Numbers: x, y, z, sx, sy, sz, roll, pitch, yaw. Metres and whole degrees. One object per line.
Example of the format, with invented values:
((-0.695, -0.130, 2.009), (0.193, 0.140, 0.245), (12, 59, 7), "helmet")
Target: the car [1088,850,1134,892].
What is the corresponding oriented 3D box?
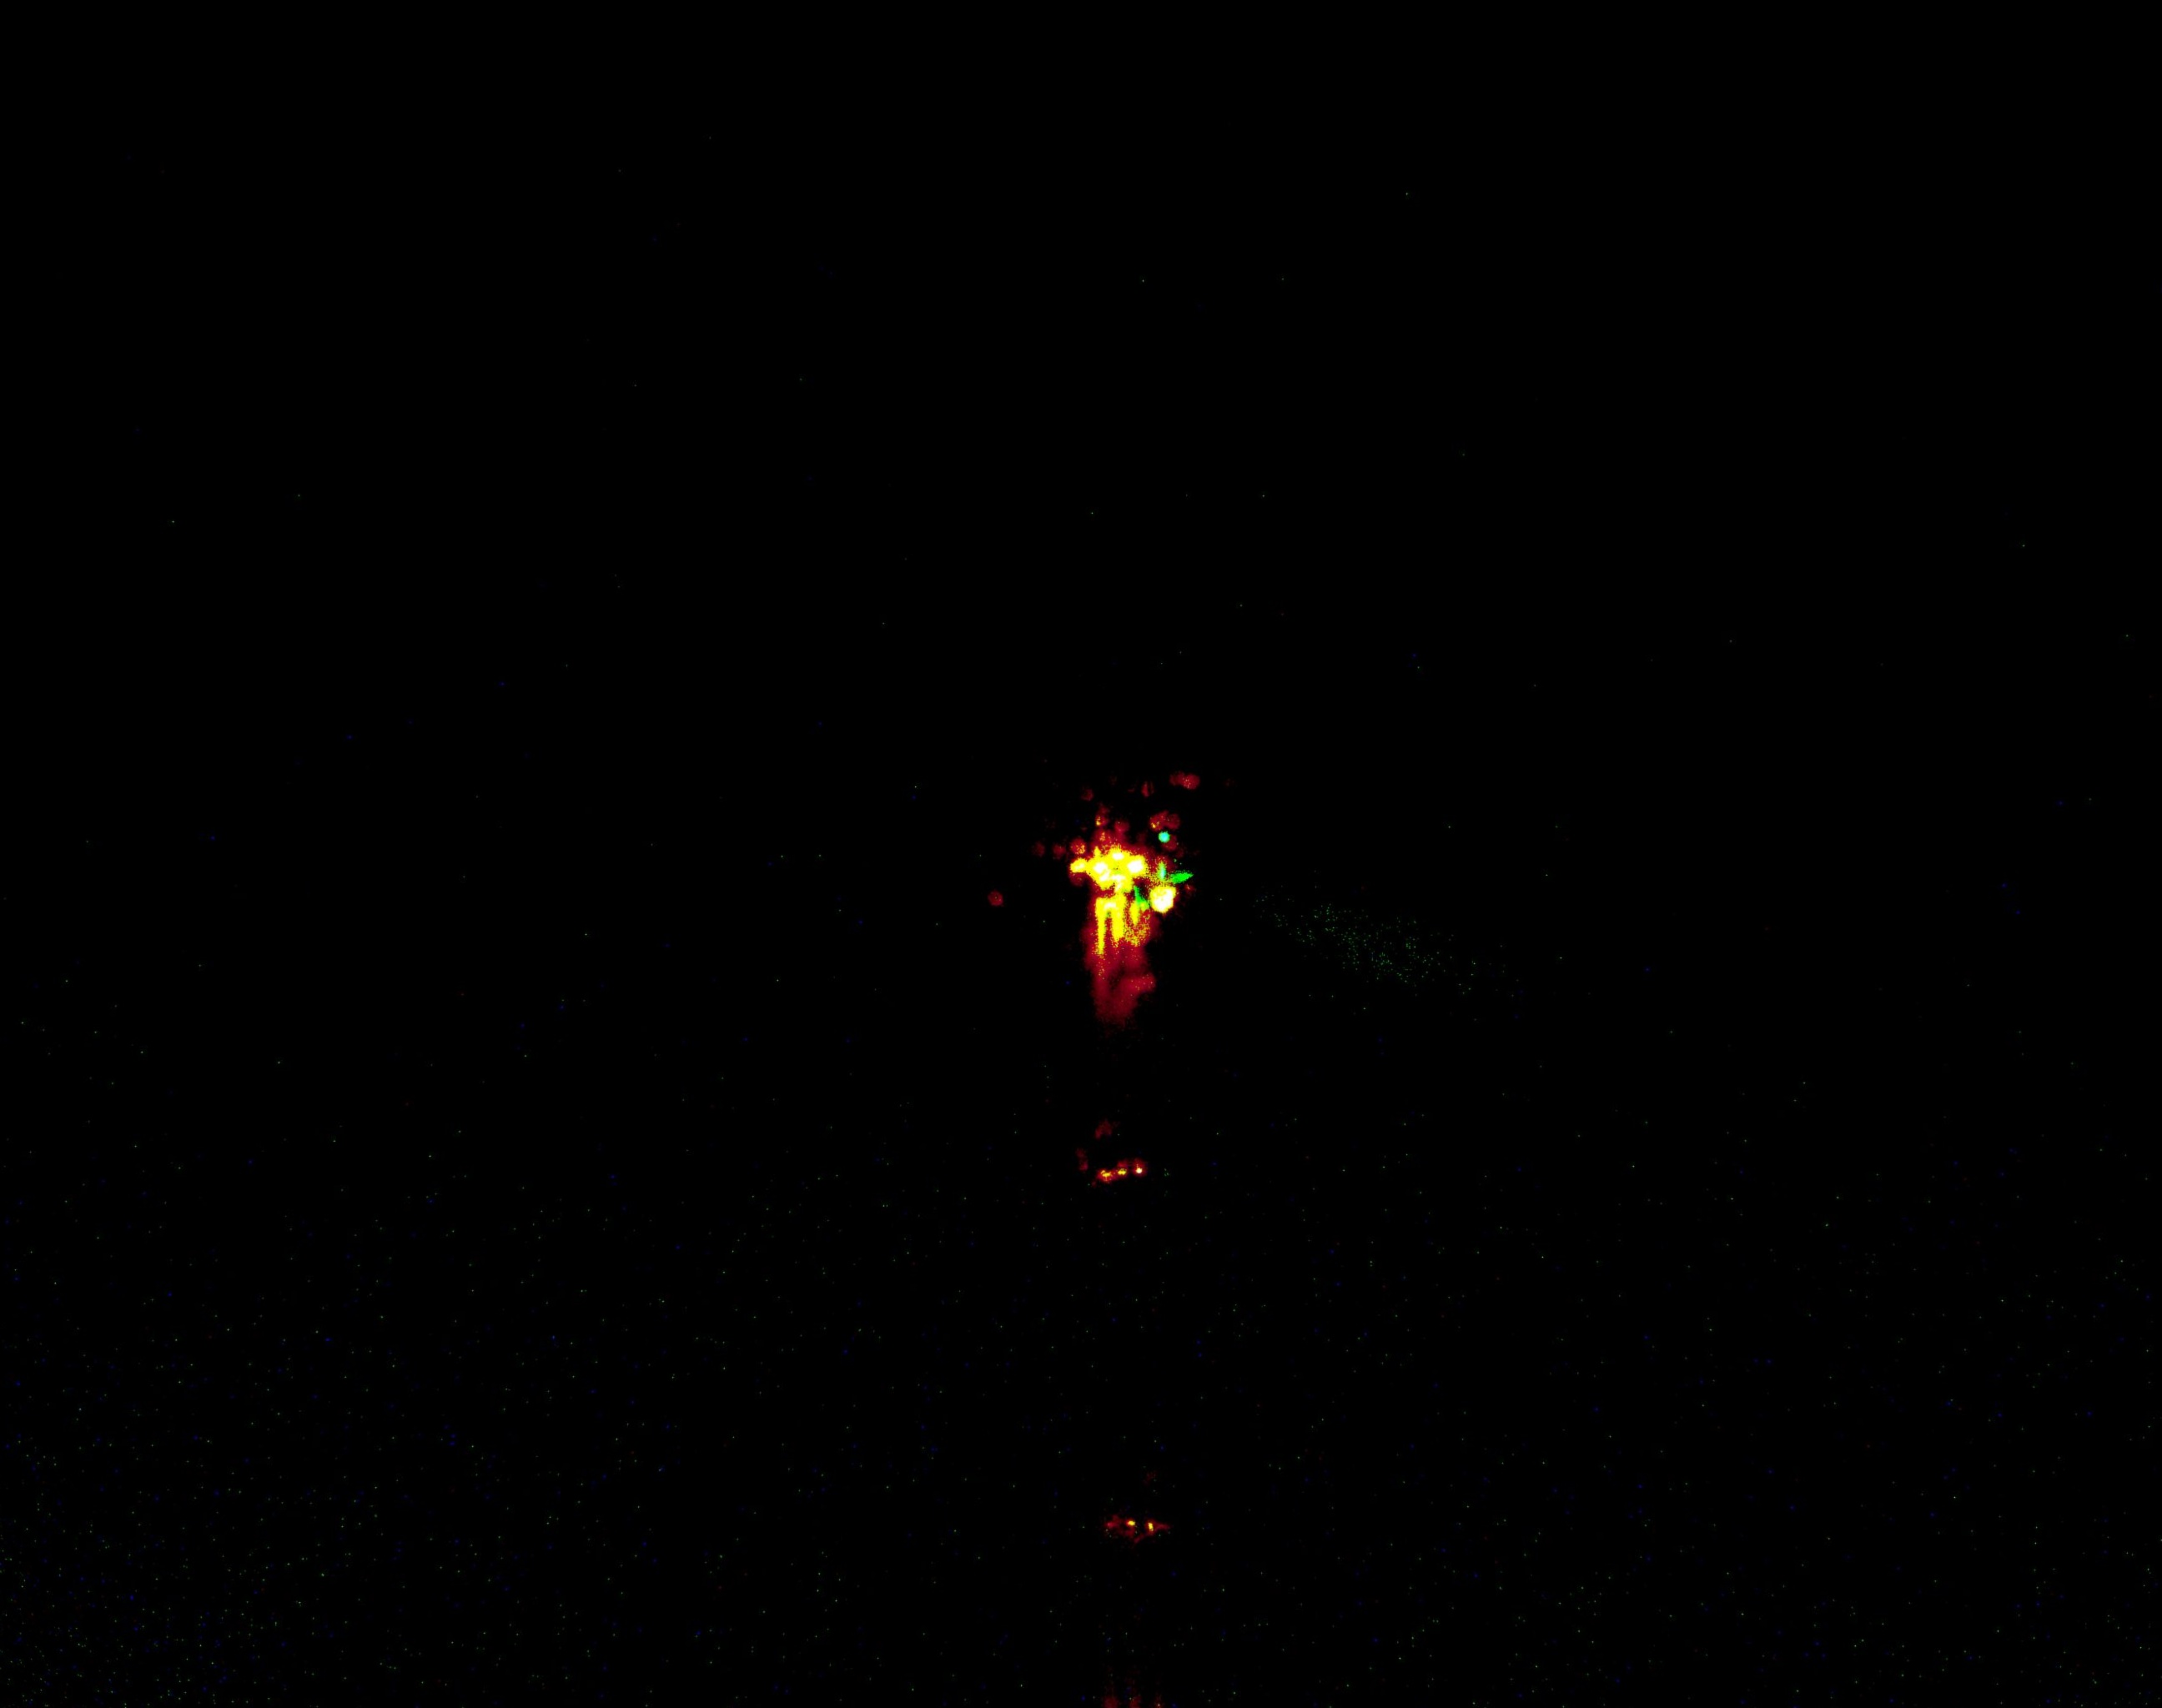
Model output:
((1.278, 0.656, 33.826), (1.794, 1.628, 3.618), (-1, 0, 3), "car")
